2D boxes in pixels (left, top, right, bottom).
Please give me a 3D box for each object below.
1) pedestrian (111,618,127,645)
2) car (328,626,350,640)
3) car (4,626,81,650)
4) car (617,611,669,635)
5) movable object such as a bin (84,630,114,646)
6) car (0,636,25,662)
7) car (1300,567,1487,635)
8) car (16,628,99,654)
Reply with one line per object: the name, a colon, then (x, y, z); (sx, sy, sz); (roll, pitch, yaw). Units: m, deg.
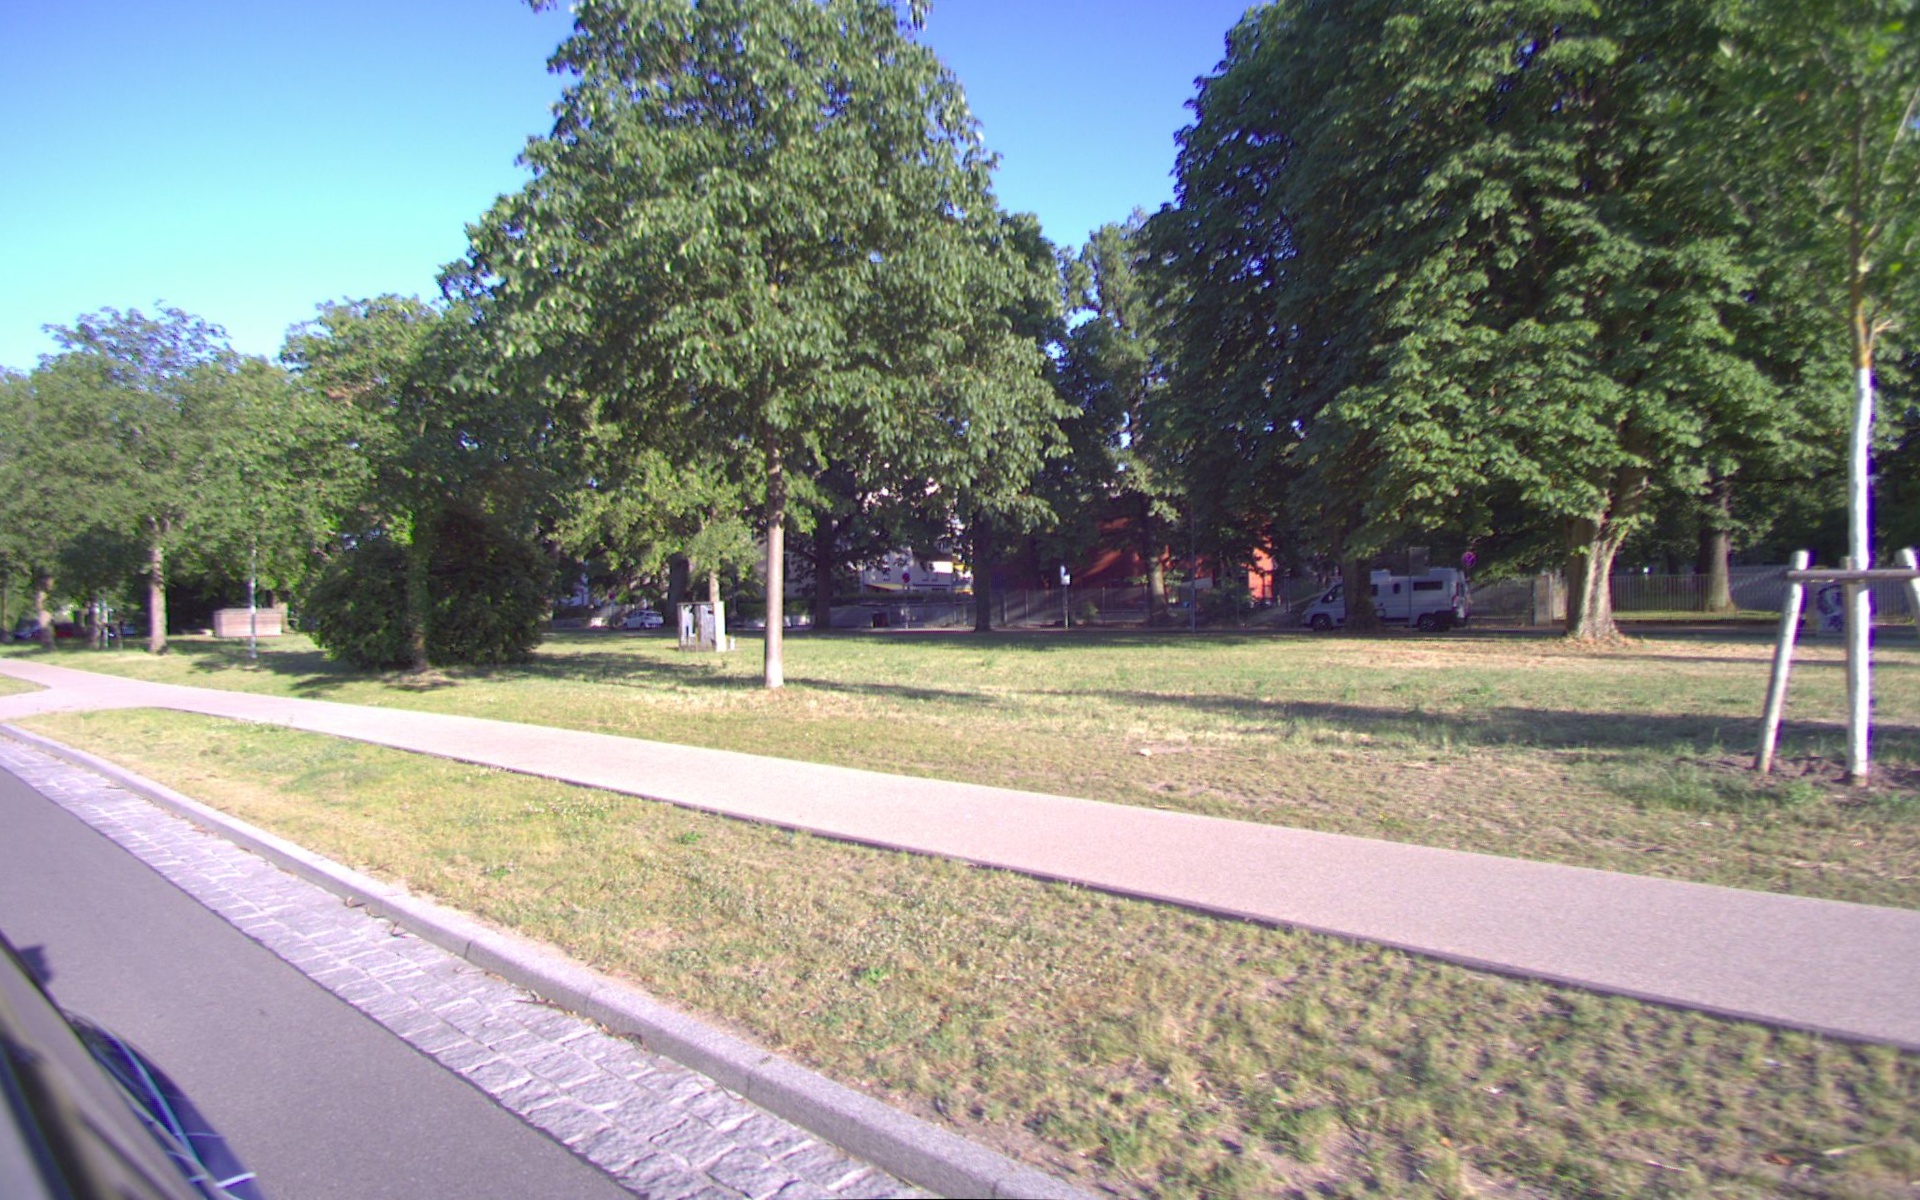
pedestrian: (-54.468, 2.058, 65.552); (0.672, 1.708, 0.655); (-2, -1, 42)
car: (-80.908, 4.262, 131.751); (1.861, 1.586, 4.608); (0, 0, -39)
car: (-67.721, 2.787, 74.781); (1.824, 1.643, 3.826); (-1, -1, 16)
car: (-23.372, 1.693, 74.523); (3.736, 1.630, 1.973); (-2, 0, 41)
movable object such as a bin: (-55.113, 2.430, 64.774); (0.949, 0.997, 1.315); (-1, -1, 42)
car: (-64.217, 3.257, 66.331); (1.874, 1.586, 3.980); (0, 0, 15)
car: (17.003, 0.080, 39.918); (6.312, 2.482, 2.694); (-1, -1, 39)
car: (-62.994, 2.853, 70.732); (1.874, 1.586, 3.980); (0, 0, 15)
